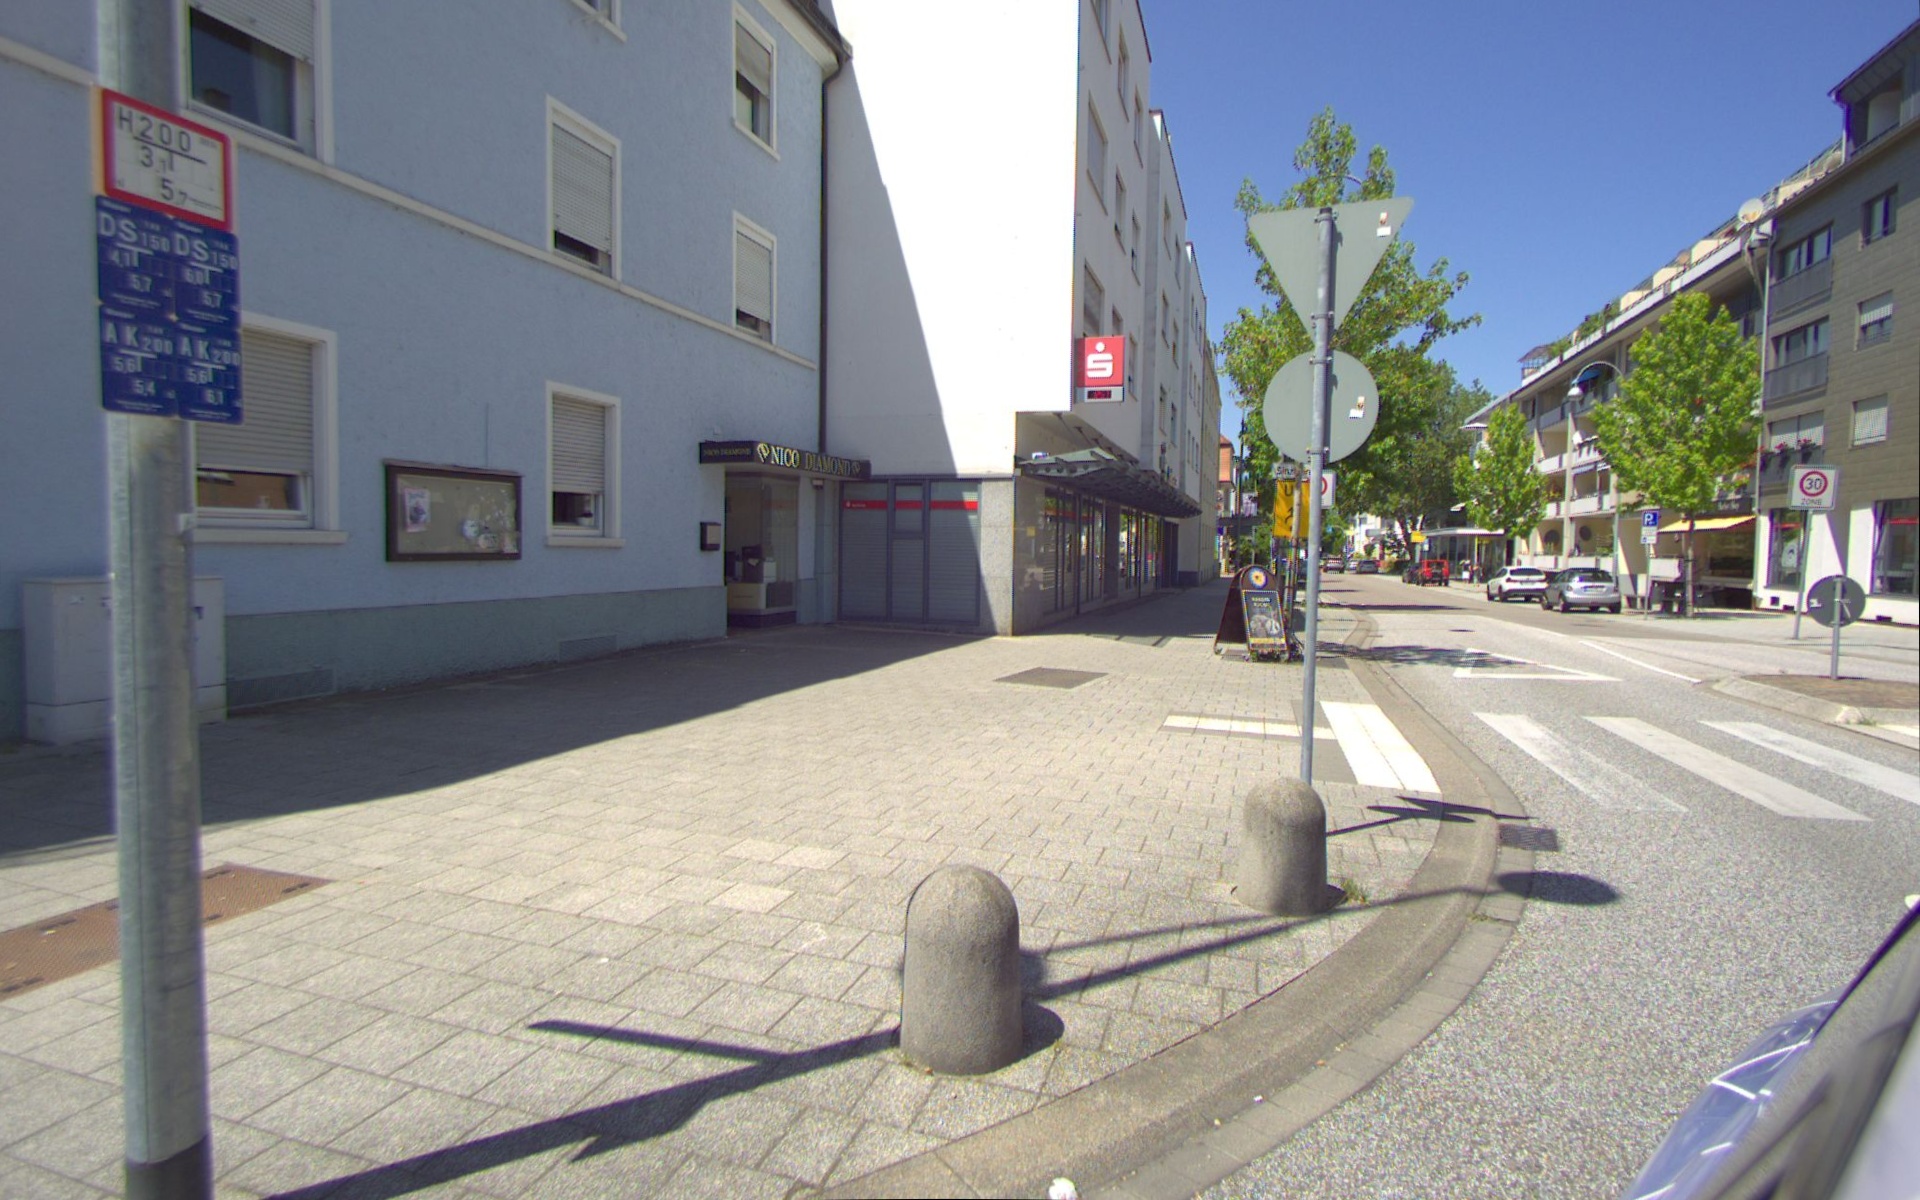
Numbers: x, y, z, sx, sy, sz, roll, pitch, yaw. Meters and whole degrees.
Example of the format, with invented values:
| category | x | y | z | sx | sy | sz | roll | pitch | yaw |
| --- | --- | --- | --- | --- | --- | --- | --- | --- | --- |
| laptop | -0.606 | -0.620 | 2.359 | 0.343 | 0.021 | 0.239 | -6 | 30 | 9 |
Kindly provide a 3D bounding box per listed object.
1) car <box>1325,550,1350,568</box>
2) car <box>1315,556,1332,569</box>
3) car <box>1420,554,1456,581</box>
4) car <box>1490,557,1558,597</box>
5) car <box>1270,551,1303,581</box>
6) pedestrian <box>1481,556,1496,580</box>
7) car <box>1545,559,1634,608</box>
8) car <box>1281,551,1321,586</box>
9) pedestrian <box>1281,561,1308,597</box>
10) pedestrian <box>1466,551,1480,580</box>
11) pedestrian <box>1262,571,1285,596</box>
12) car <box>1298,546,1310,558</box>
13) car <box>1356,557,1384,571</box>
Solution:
| category | x | y | z | sx | sy | sz | roll | pitch | yaw |
| --- | --- | --- | --- | --- | --- | --- | --- | --- | --- |
| car | 40.024 | -4.397 | 107.427 | 1.879 | 1.775 | 4.737 | 3 | 3 | 14 |
| car | 46.543 | -4.828 | 129.654 | 1.752 | 1.652 | 4.281 | 1 | 3 | 15 |
| car | 30.968 | -2.148 | 65.628 | 1.624 | 1.682 | 3.352 | 0 | 2 | 18 |
| car | 23.976 | -1.023 | 43.159 | 1.678 | 1.611 | 4.277 | 2 | 3 | 18 |
| car | 20.067 | -2.125 | 62.271 | 1.670 | 1.743 | 4.117 | 1 | 3 | 15 |
| pedestrian | 33.518 | -2.037 | 64.147 | 0.772 | 1.517 | 0.690 | 2 | 2 | 29 |
| car | 20.644 | -0.599 | 33.324 | 1.605 | 1.491 | 3.529 | 2 | 3 | 18 |
| car | 19.020 | -1.793 | 56.522 | 1.670 | 1.742 | 3.984 | 4 | 3 | 14 |
| pedestrian | 11.942 | -0.756 | 36.104 | 0.757 | 1.255 | 0.532 | 3 | 3 | 33 |
| pedestrian | 32.546 | -2.170 | 64.238 | 0.663 | 1.827 | 0.678 | 2 | 3 | 33 |
| pedestrian | 11.413 | -0.590 | 36.816 | 0.674 | 0.862 | 0.532 | 3 | 3 | 31 |
| car | 74.360 | -10.397 | 218.910 | 2.204 | 2.496 | 5.221 | 2 | 3 | 18 |
| car | 42.418 | -3.749 | 104.815 | 1.970 | 1.437 | 3.986 | 1 | 3 | 13 |
